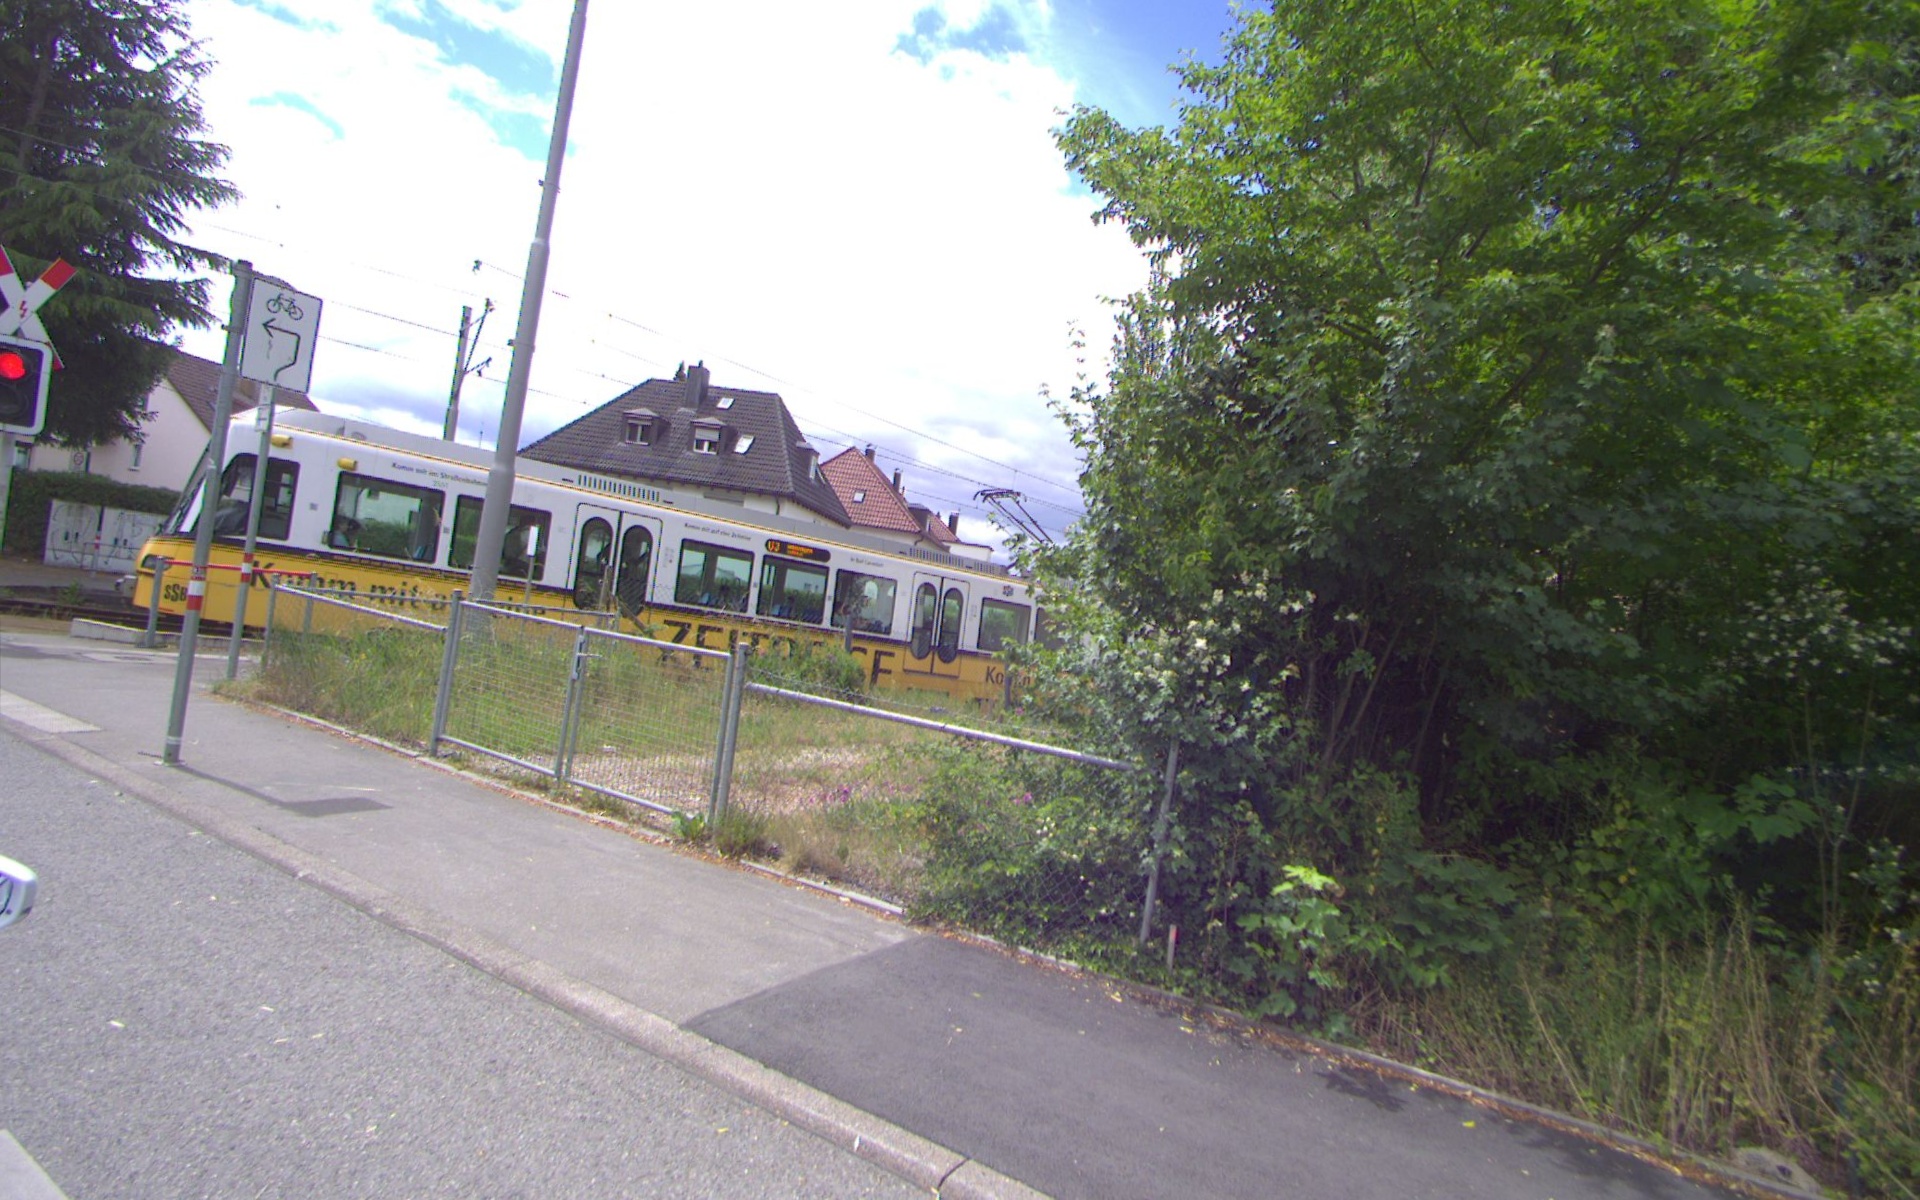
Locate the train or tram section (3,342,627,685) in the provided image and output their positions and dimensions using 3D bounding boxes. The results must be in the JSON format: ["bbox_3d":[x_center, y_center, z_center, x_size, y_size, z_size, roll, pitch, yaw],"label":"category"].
[{"bbox_3d":[-9.967,-1.007,16.562,7.655,3.762,2.842,10,-3,-36],"label":"train or tram section"}]

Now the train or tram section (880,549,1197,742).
[{"bbox_3d":[2.175,1.257,25.519,7.655,3.762,2.842,10,-3,-36],"label":"train or tram section"}]

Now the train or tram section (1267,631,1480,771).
[{"bbox_3d":[14.310,3.537,34.526,7.655,3.762,2.842,10,-3,-36],"label":"train or tram section"}]

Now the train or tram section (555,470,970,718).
[{"bbox_3d":[-3.898,0.093,21.058,7.655,3.762,2.842,10,-3,-36],"label":"train or tram section"}]

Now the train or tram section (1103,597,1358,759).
[{"bbox_3d":[8.215,2.408,30.030,7.655,3.762,2.842,10,-3,-36],"label":"train or tram section"}]
